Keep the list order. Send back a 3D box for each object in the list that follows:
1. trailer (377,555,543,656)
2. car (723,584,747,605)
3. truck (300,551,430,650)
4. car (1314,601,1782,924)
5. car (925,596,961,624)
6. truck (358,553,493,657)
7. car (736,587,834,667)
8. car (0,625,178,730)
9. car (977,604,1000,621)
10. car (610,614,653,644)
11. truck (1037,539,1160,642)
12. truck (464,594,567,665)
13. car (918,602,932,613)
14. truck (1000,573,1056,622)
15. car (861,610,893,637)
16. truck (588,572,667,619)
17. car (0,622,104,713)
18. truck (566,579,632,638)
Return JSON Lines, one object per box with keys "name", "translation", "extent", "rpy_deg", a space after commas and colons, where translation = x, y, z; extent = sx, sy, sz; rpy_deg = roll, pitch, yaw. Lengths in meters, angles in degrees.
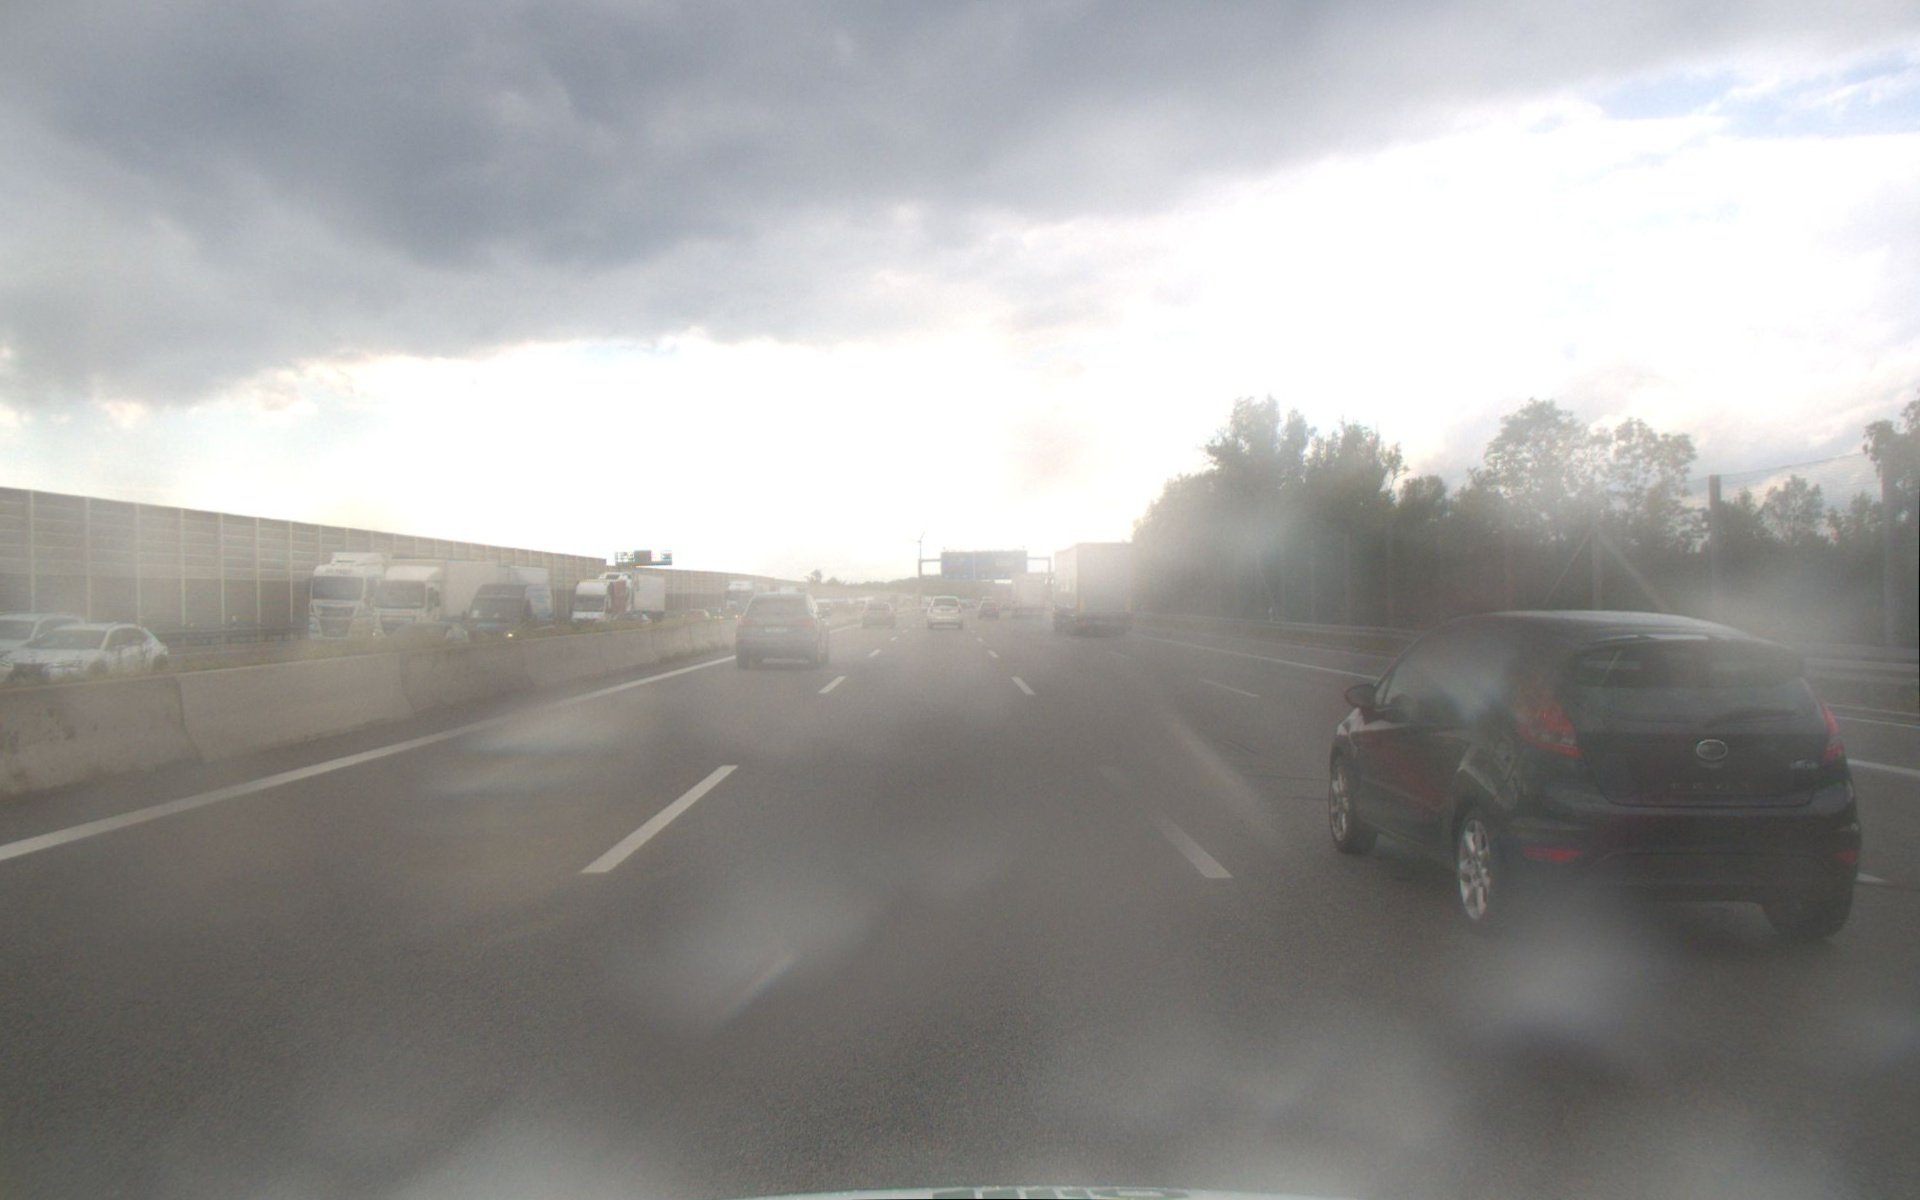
{"name": "trailer", "translation": [-21.986, 0.230, 74.005], "extent": [3.017, 4.004, 14.978], "rpy_deg": [1, 0, -1]}
{"name": "car", "translation": [-23.146, -0.544, 170.459], "extent": [1.953, 2.049, 3.999], "rpy_deg": [1, 0, -1]}
{"name": "truck", "translation": [-26.466, 0.032, 74.090], "extent": [2.655, 4.146, 8.912], "rpy_deg": [1, 0, -1]}
{"name": "car", "translation": [3.015, 0.742, 9.107], "extent": [1.417, 1.466, 3.163], "rpy_deg": [0, 0, -1]}
{"name": "car", "translation": [-0.947, 0.534, 89.753], "extent": [1.737, 1.466, 4.052], "rpy_deg": [0, 0, -4]}
{"name": "truck", "translation": [-21.913, 0.200, 68.337], "extent": [3.017, 4.004, 8.051], "rpy_deg": [1, 0, -1]}
{"name": "car", "translation": [-4.002, 0.591, 38.502], "extent": [1.870, 1.721, 5.167], "rpy_deg": [0, 0, -2]}
{"name": "car", "translation": [-17.875, 1.520, 33.713], "extent": [1.884, 1.939, 4.251], "rpy_deg": [0, 0, -1]}
{"name": "car", "translation": [2.452, 1.066, 143.124], "extent": [1.799, 1.466, 4.053], "rpy_deg": [0, 0, -2]}
{"name": "car", "translation": [-18.068, 1.587, 91.129], "extent": [1.629, 1.561, 3.886], "rpy_deg": [1, 0, -1]}
{"name": "truck", "translation": [6.223, -0.401, 77.310], "extent": [4.096, 4.363, 12.606], "rpy_deg": [1, 0, -3]}
{"name": "truck", "translation": [-15.124, 0.970, 56.571], "extent": [1.953, 2.250, 5.923], "rpy_deg": [1, 0, -1]}
{"name": "car", "translation": [-4.743, 1.014, 223.483], "extent": [1.737, 1.466, 3.871], "rpy_deg": [0, 0, -4]}
{"name": "truck", "translation": [6.144, -0.200, 152.394], "extent": [4.158, 4.249, 11.983], "rpy_deg": [1, 0, -2]}
{"name": "car", "translation": [-4.648, 1.270, 92.058], "extent": [1.726, 1.393, 5.056], "rpy_deg": [0, 0, -4]}
{"name": "truck", "translation": [-26.042, -0.336, 130.582], "extent": [3.200, 3.410, 16.081], "rpy_deg": [1, 0, -1]}
{"name": "car", "translation": [-21.688, 1.498, 37.996], "extent": [1.884, 1.939, 4.251], "rpy_deg": [0, 0, -1]}
{"name": "truck", "translation": [-22.103, 0.511, 101.581], "extent": [2.274, 3.406, 8.351], "rpy_deg": [1, 0, -1]}
